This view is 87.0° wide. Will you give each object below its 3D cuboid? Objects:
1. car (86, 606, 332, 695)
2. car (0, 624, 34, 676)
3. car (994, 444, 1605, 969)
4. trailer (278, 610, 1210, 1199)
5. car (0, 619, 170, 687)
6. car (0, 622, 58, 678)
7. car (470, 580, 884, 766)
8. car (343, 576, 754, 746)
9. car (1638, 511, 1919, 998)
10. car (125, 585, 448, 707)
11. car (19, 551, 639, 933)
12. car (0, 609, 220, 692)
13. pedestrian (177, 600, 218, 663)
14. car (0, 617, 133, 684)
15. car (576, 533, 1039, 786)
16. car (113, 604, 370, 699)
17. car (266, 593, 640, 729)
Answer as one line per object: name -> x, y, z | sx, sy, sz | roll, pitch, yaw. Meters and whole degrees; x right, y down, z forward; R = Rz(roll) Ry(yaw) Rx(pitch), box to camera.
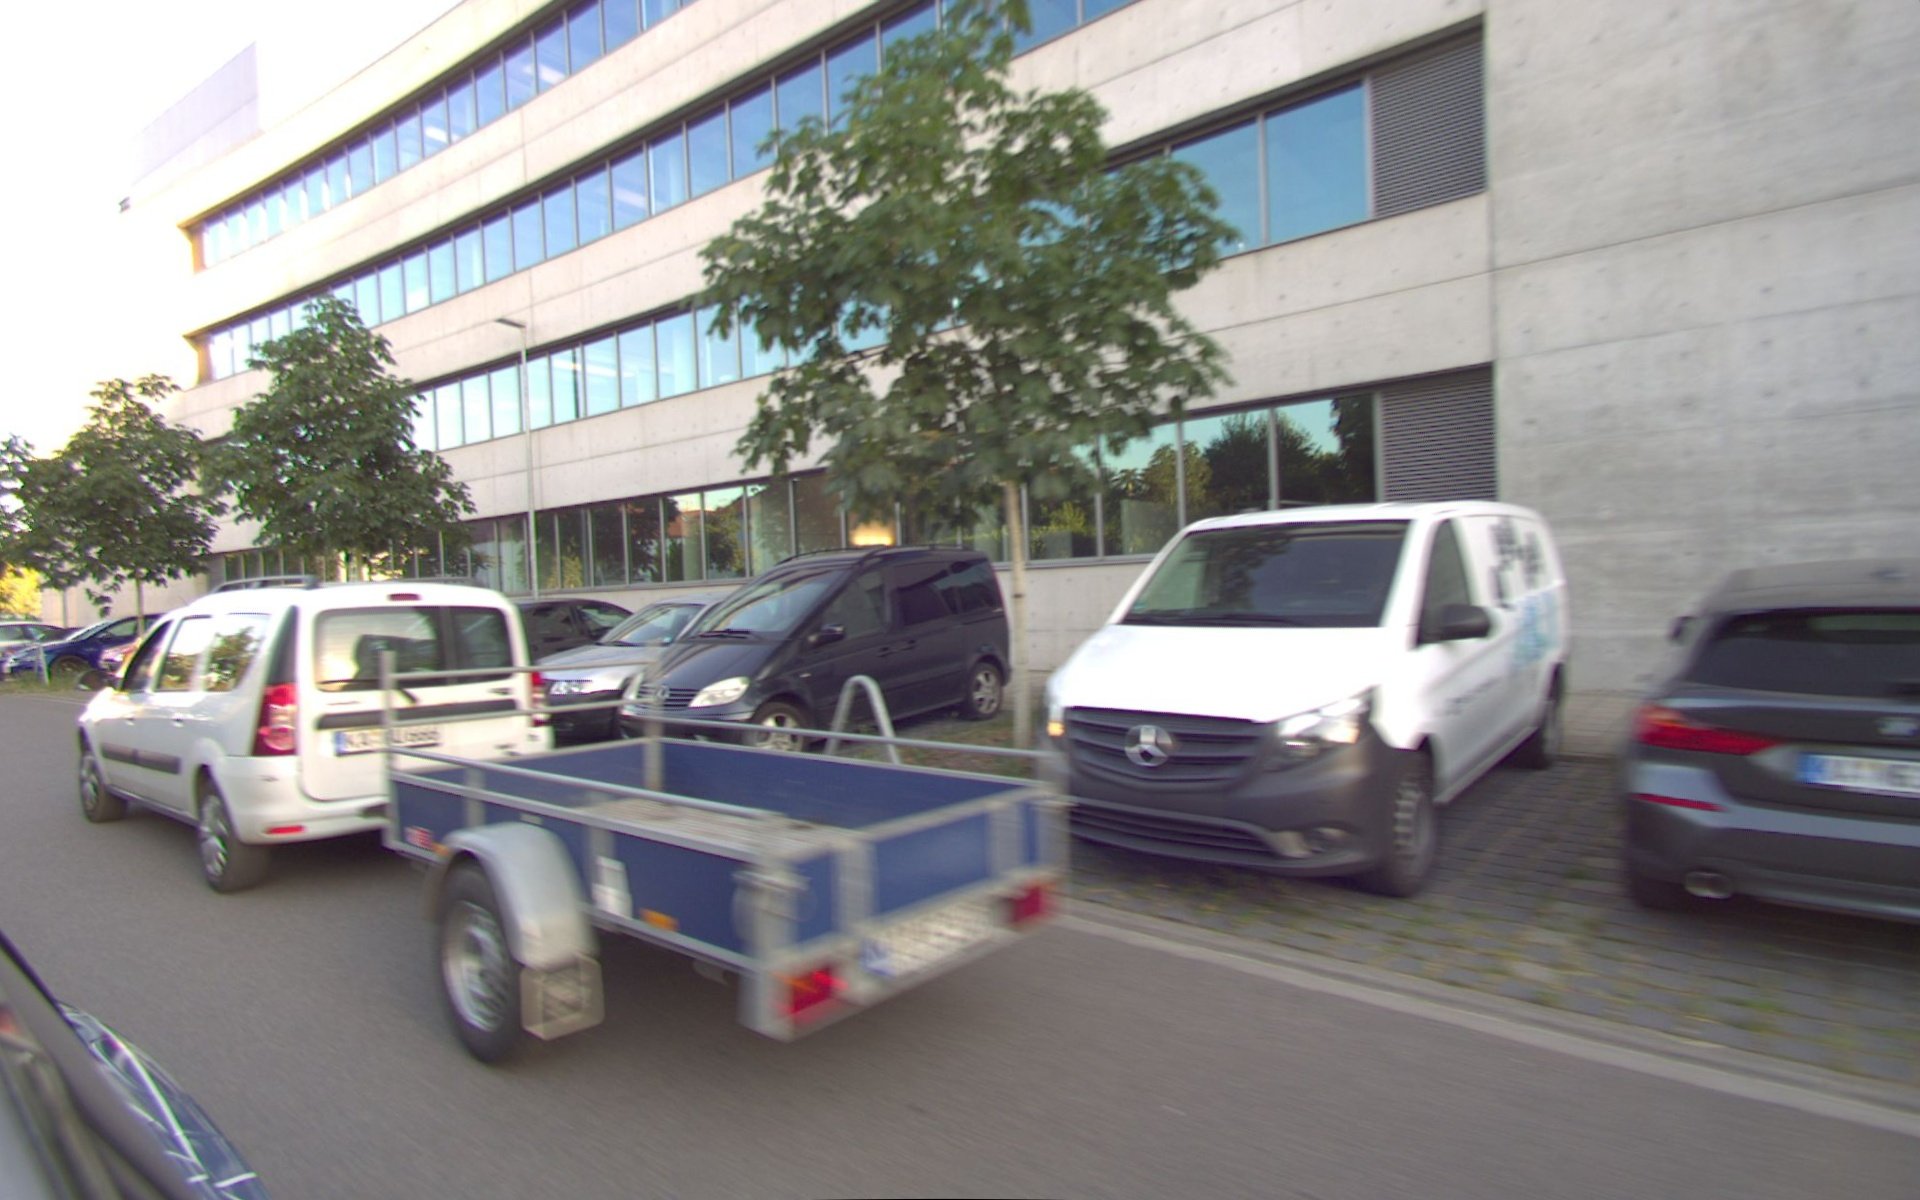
car -> -15.354, 0.977, 20.869 | 1.707, 1.468, 3.673 | -2, 1, 33
car -> -30.948, 1.678, 30.493 | 1.836, 1.540, 4.064 | -3, 2, 26
car -> 2.529, 0.232, 6.302 | 1.887, 1.960, 5.027 | -1, 3, 39
trailer -> -1.056, 0.758, 3.804 | 3.486, 1.359, 1.687 | -1, 0, 42
car -> -22.251, 1.298, 25.231 | 1.678, 1.372, 3.611 | -3, 1, 28
car -> -28.612, 1.579, 28.835 | 1.576, 1.523, 3.976 | -4, 1, 26
car -> -2.898, 0.637, 11.160 | 1.723, 1.414, 4.105 | -1, 3, 39
car -> -4.920, 0.602, 12.621 | 1.763, 1.510, 4.351 | -1, 4, 42
car -> 4.358, 0.381, 4.758 | 1.604, 1.533, 3.950 | -1, 3, 39
car -> -11.564, 0.699, 17.648 | 1.894, 1.709, 4.268 | -2, 2, 38
car -> -4.375, 0.626, 6.698 | 4.714, 1.699, 1.934 | 0, 1, 37
car -> -19.787, 1.119, 23.436 | 1.754, 1.522, 3.840 | -3, 1, 33
pedestrian -> -22.343, 0.916, 29.650 | 0.723, 1.797, 0.641 | -2, 2, 33
car -> -24.547, 1.359, 26.608 | 1.754, 1.522, 3.956 | -3, 1, 33
car -> -1.178, 0.340, 9.559 | 1.723, 1.755, 4.207 | -1, 3, 39
car -> -13.734, 0.917, 19.527 | 1.675, 1.468, 3.671 | -2, 1, 35
car -> -7.017, 0.754, 14.438 | 1.761, 1.475, 4.391 | -3, 0, 38
